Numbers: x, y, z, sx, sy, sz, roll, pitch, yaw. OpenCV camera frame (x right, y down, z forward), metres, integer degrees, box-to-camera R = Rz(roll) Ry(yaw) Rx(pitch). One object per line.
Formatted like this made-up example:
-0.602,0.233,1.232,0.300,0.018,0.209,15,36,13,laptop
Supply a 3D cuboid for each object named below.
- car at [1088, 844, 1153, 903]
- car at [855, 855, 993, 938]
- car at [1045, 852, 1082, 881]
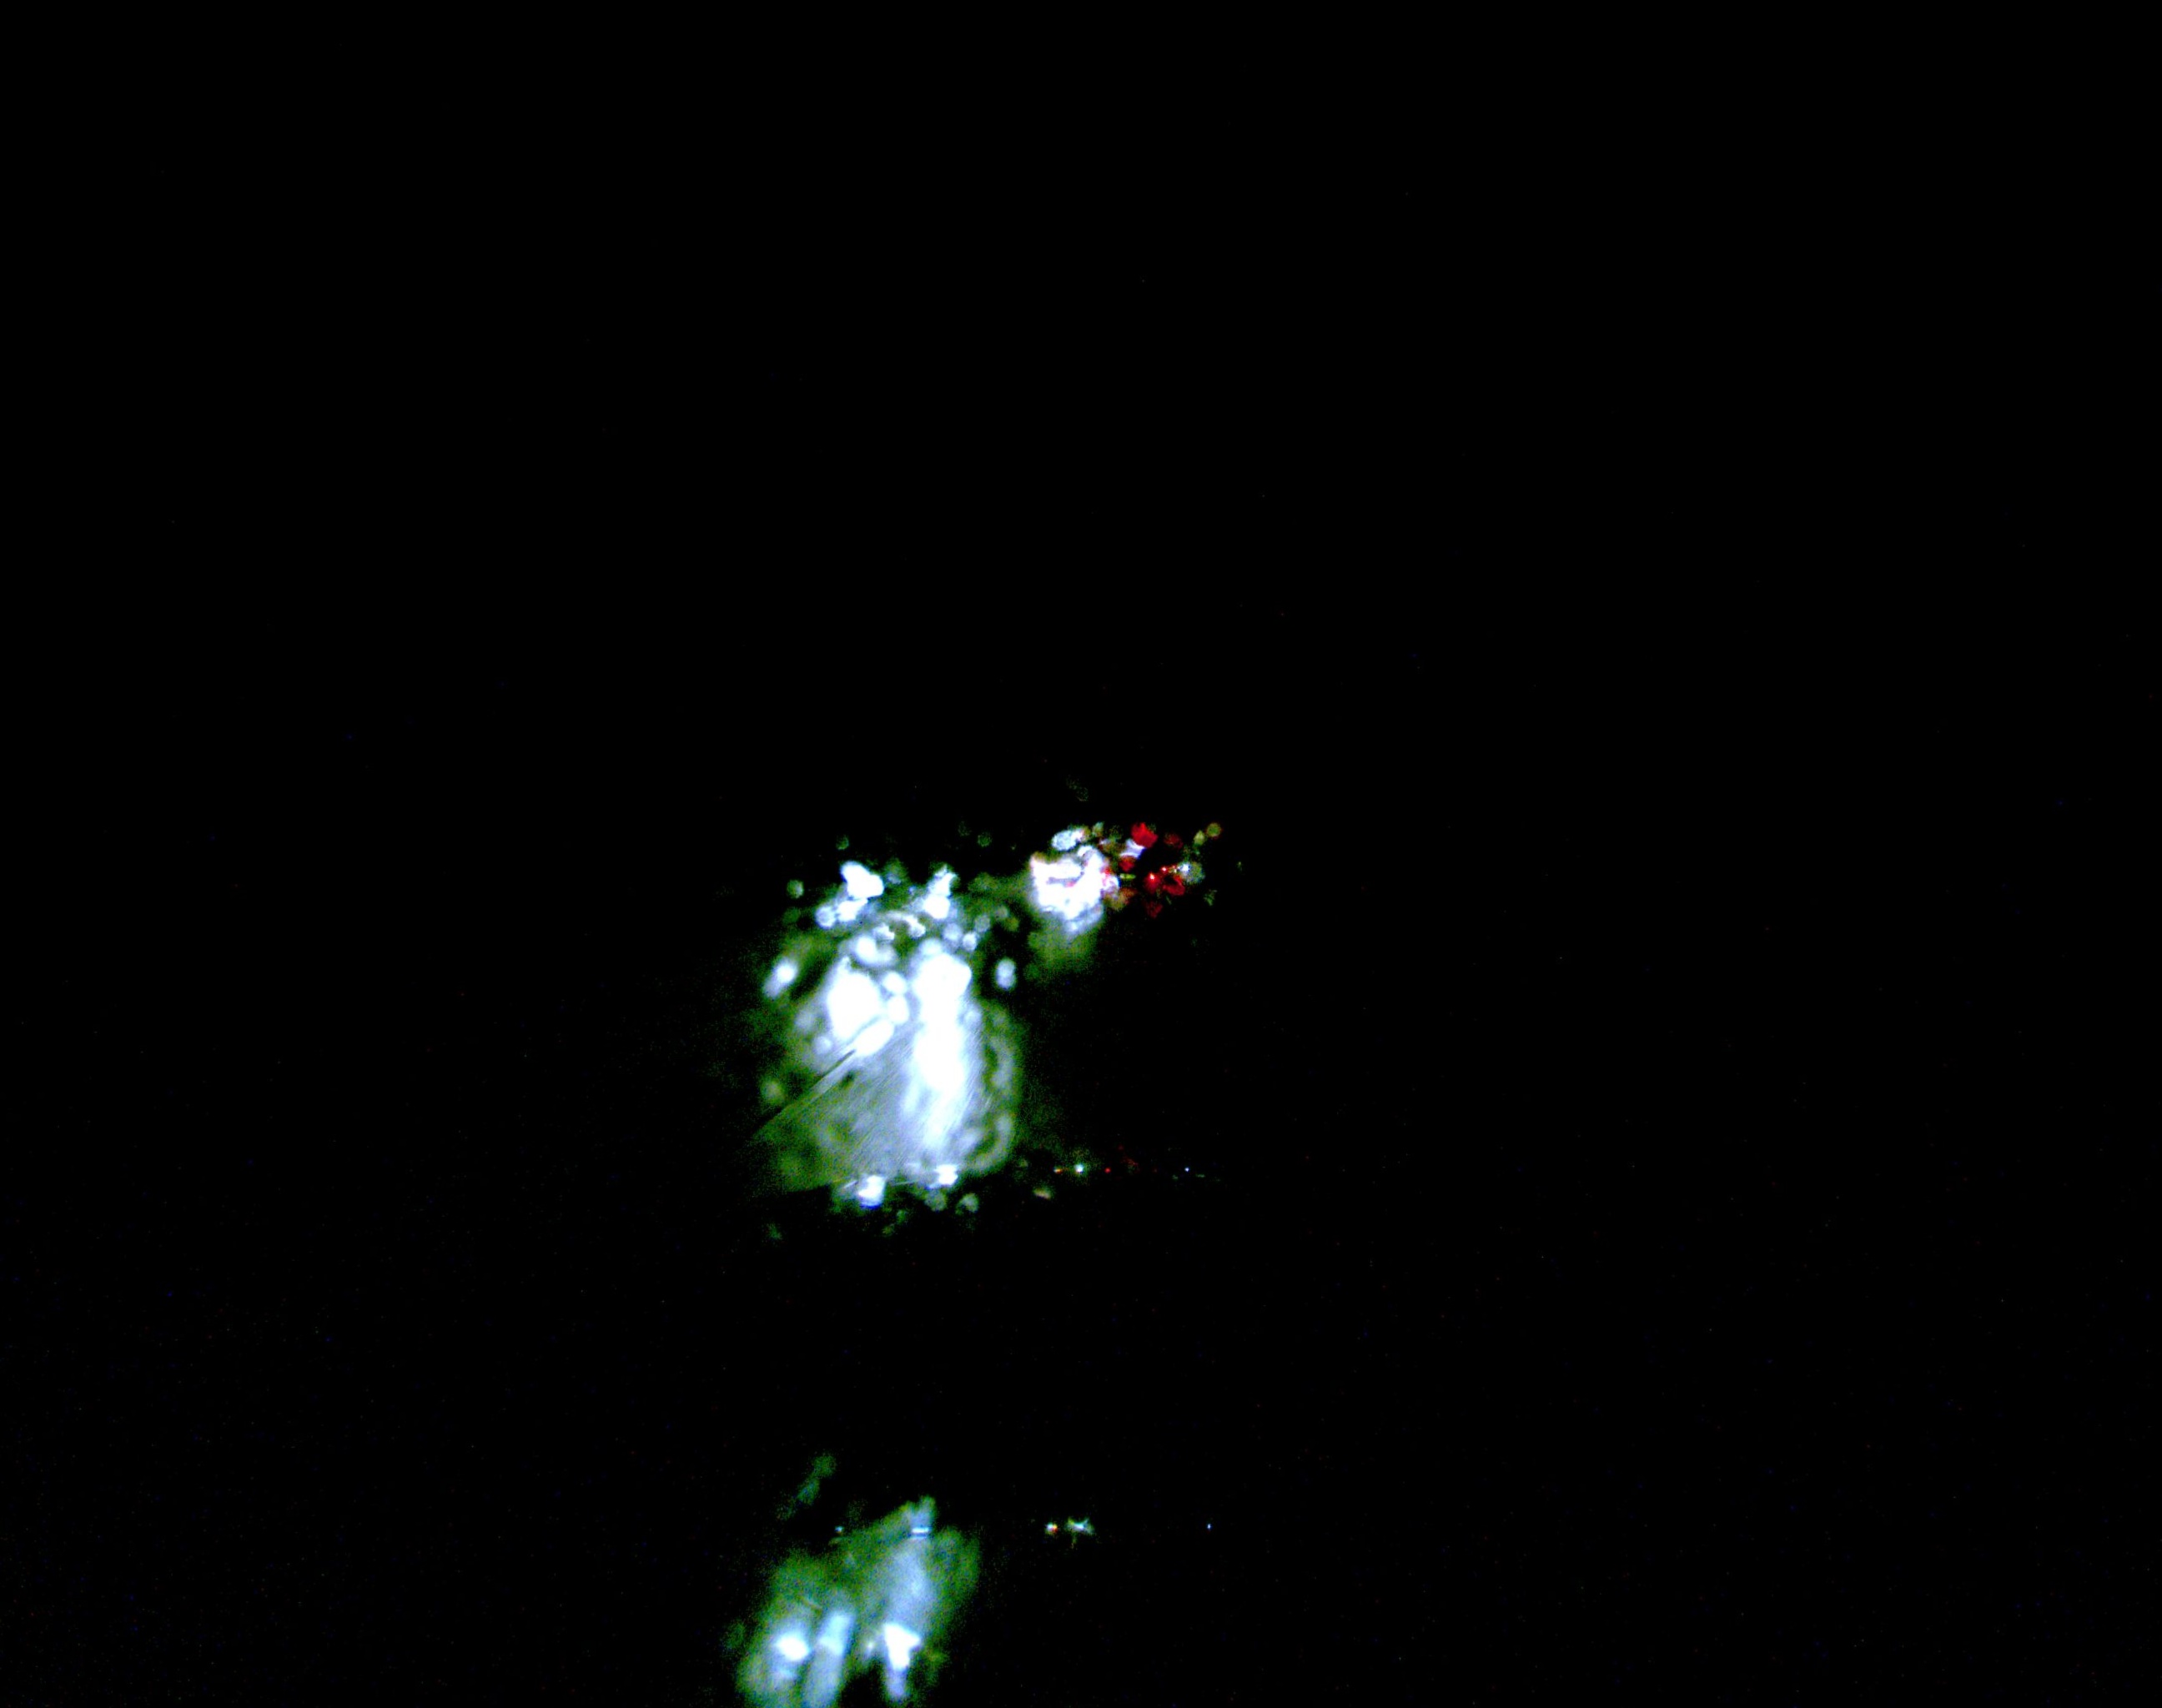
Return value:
1.349,0.634,27.759,1.985,1.807,3.920,-2,0,3,car
-3.060,0.762,16.838,1.748,1.405,4.491,0,1,3,car
-0.976,0.683,46.793,1.757,1.542,4.152,0,0,3,car
